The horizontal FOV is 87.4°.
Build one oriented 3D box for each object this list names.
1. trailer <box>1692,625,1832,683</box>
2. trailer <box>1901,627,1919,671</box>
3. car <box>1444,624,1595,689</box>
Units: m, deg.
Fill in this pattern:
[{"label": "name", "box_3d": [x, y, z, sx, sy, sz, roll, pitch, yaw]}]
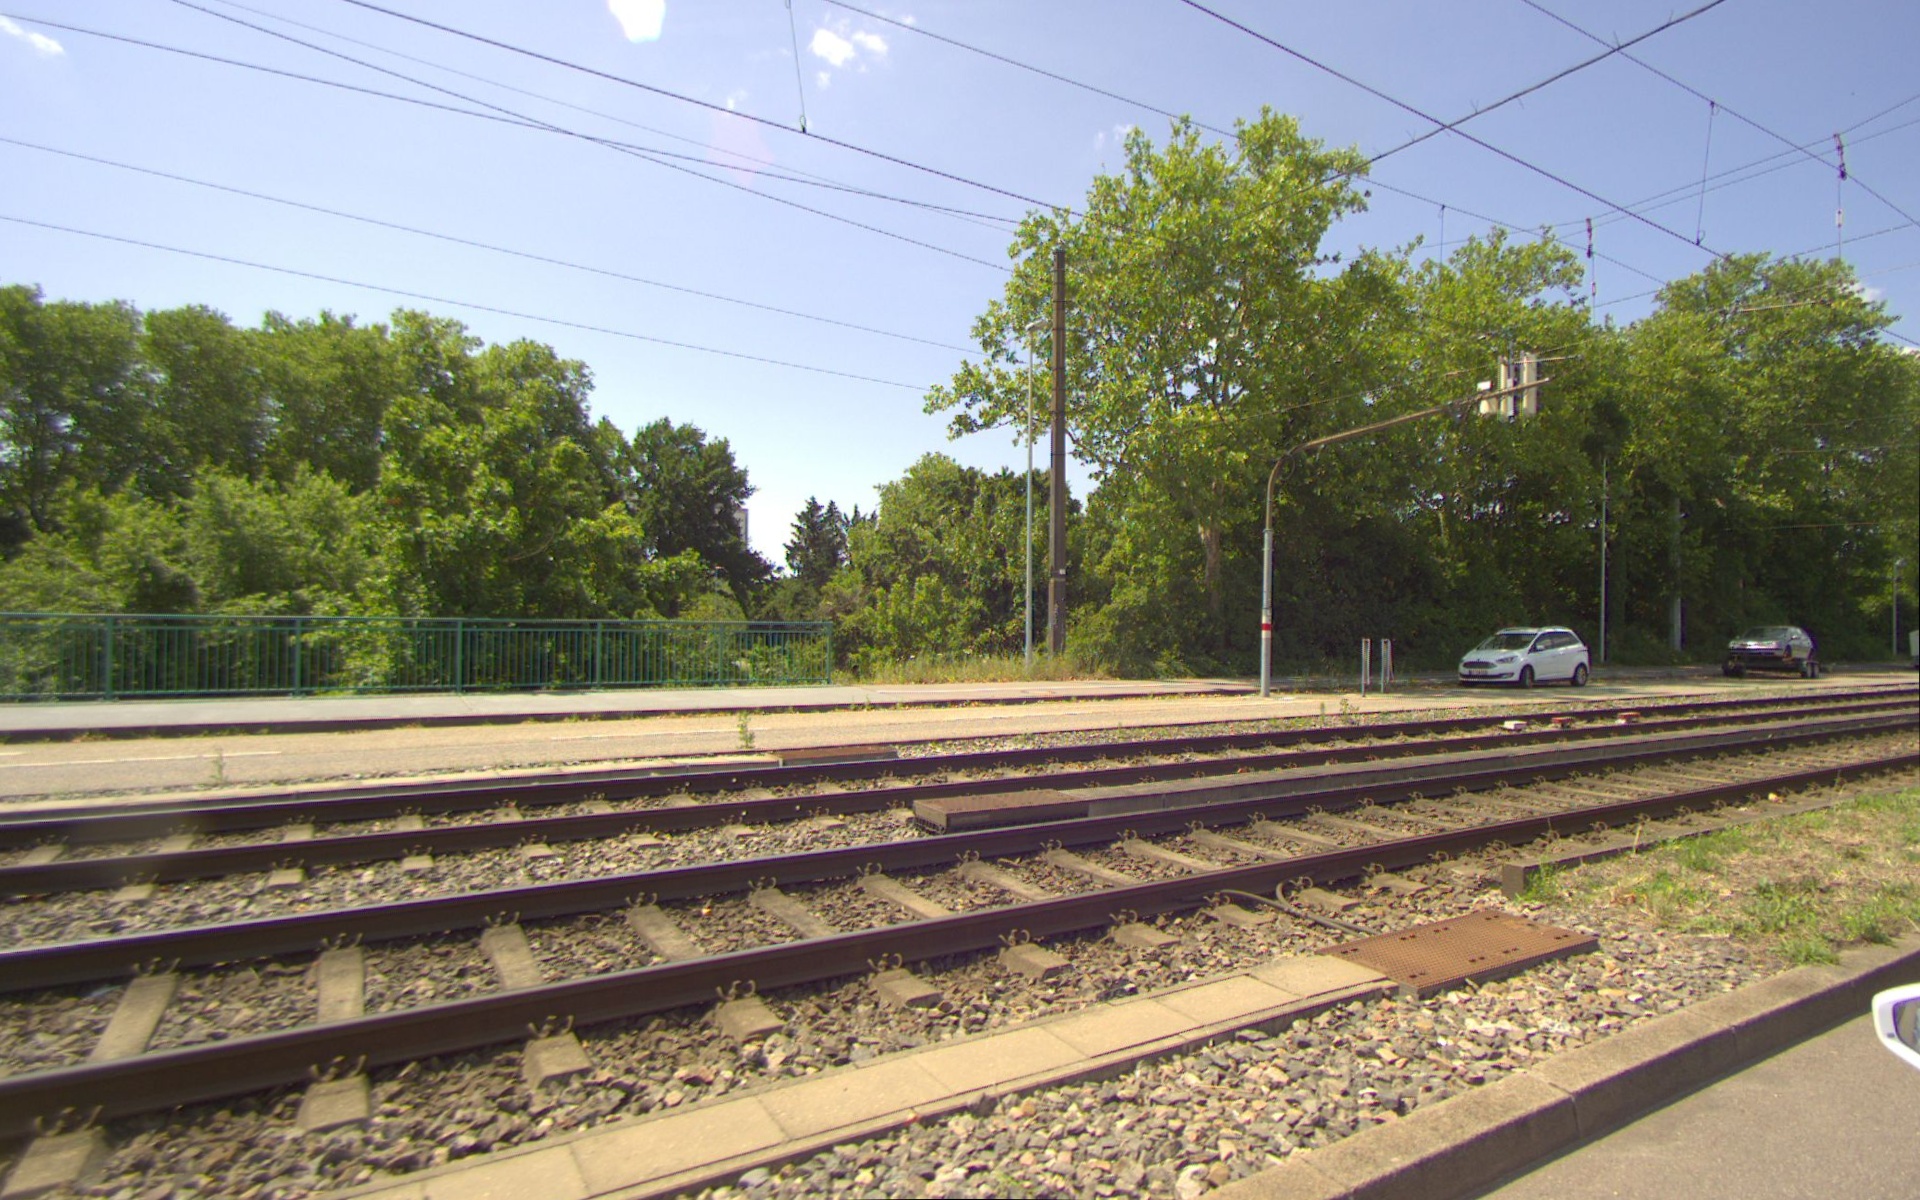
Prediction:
[{"label": "trailer", "box_3d": [29.124, 1.912, 36.431, 5.903, 1.914, 2.445, 2, -1, -35]}, {"label": "trailer", "box_3d": [46.103, 2.313, 47.438, 3.875, 2.040, 1.599, 1, 1, -34]}, {"label": "car", "box_3d": [15.853, 1.566, 28.406, 4.565, 1.652, 1.711, 0, -3, -32]}]
